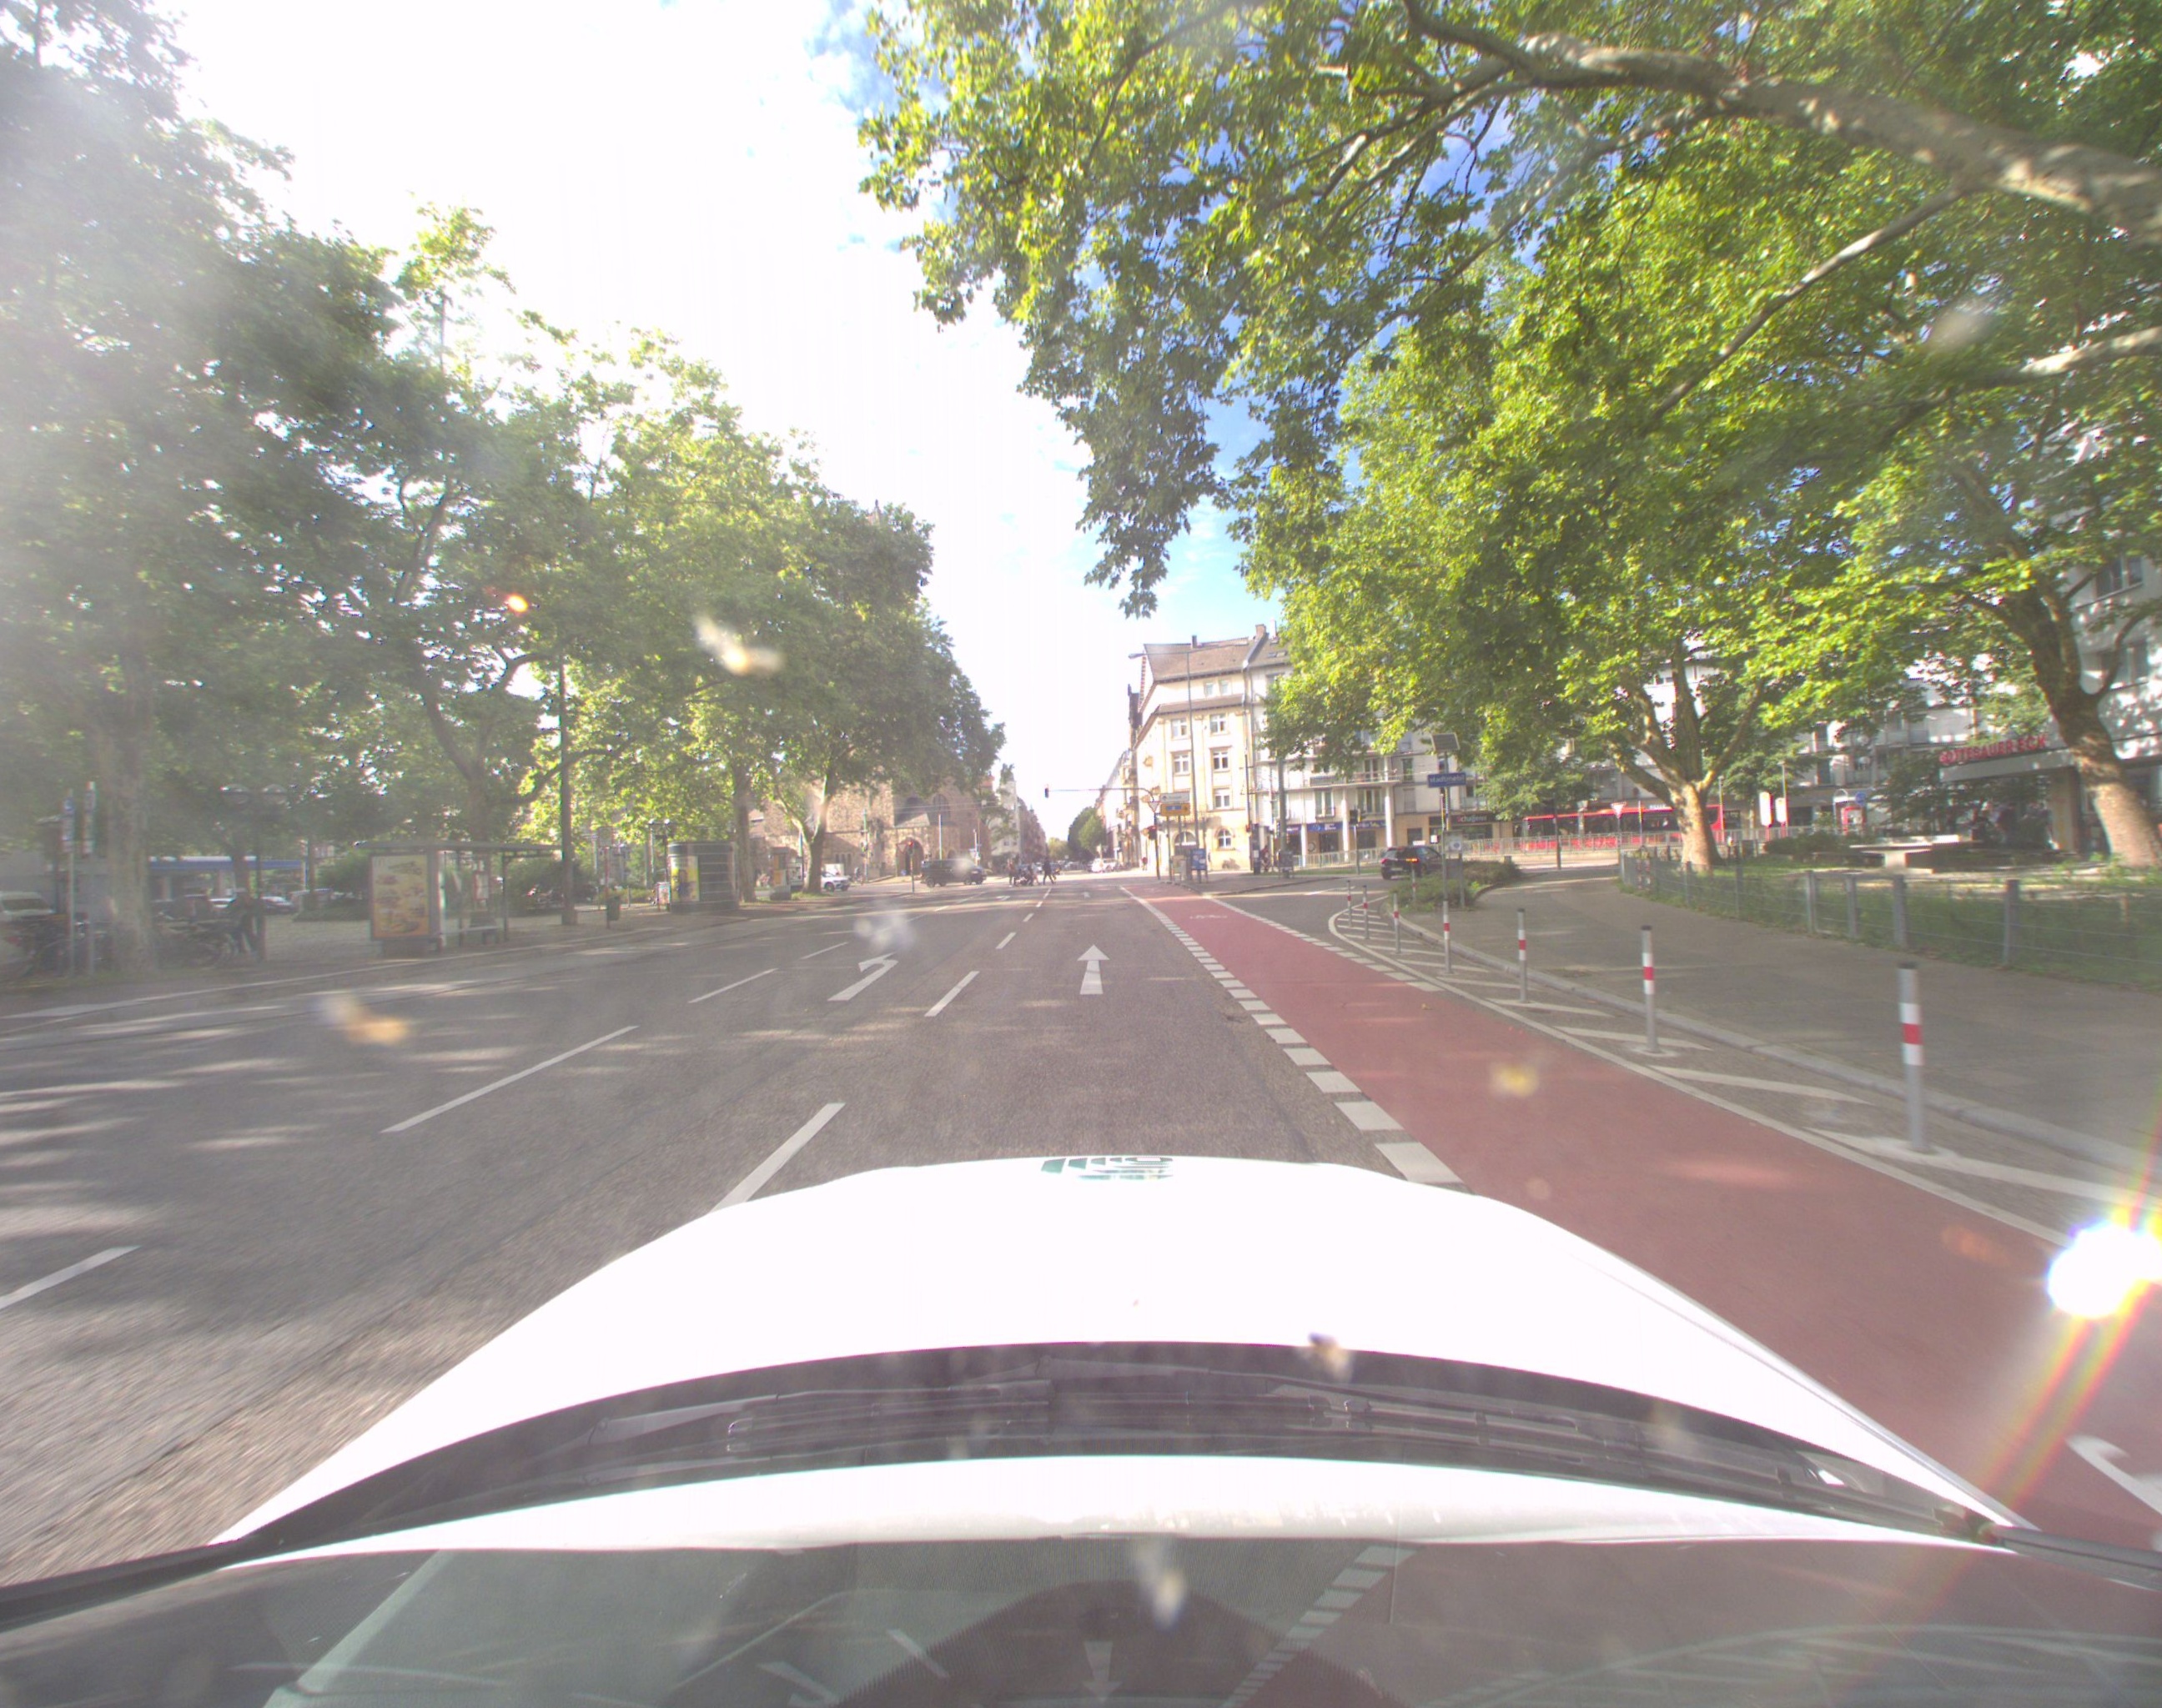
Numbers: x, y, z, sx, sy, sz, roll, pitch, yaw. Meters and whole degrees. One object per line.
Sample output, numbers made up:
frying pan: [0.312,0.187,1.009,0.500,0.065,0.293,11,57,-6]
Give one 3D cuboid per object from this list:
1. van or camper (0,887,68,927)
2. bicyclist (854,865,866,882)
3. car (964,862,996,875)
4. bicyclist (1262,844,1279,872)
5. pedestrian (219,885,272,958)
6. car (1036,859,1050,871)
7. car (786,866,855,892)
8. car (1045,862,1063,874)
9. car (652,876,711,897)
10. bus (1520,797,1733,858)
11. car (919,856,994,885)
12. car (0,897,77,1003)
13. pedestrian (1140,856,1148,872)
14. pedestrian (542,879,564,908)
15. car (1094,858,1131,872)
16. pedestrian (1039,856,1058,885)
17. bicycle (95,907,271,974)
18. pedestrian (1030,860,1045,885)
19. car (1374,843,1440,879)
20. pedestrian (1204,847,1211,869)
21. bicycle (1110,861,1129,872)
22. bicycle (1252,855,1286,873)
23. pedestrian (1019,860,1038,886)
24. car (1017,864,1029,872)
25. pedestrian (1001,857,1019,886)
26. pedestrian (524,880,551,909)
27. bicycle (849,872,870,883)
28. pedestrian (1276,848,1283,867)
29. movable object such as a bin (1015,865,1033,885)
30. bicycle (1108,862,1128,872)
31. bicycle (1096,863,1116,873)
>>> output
van or camper: [-67.002,3.393,51.853,4.435,2.328,2.124,-3,0,26]
bicyclist: [-22.226,1.984,81.881,0.716,1.662,0.724,-3,-1,35]
car: [-14.434,2.100,116.479,4.021,1.596,1.847,-3,0,-40]
bicyclist: [10.971,0.239,47.258,0.771,1.579,0.629,-3,-1,25]
pedestrian: [-20.637,1.648,20.124,0.498,1.715,0.706,-3,0,1]
car: [-5.775,1.674,124.058,1.943,1.750,3.998,-3,0,-1]
car: [-19.997,1.925,62.632,4.667,1.683,2.027,-3,0,19]
car: [-3.305,1.725,100.359,1.943,1.372,3.999,-3,0,-1]
car: [-33.216,2.721,67.663,4.213,1.479,1.908,-3,0,19]
bus: [38.377,-1.796,58.016,12.154,3.548,3.046,-3,0,22]
car: [-8.952,1.192,58.487,4.804,1.871,2.041,-3,0,19]
car: [-18.087,1.569,11.108,2.217,1.585,4.993,-3,0,14]
pedestrian: [6.269,1.009,81.170,0.557,1.623,0.603,-3,-1,21]
pedestrian: [-23.863,1.778,36.838,0.725,1.288,0.811,0,-1,-26]
car: [3.600,1.236,92.607,3.980,1.420,1.997,-3,0,-4]
pedestrian: [-1.923,0.968,47.826,0.774,1.662,0.783,-3,0,22]
bicycle: [-18.671,1.766,16.997,1.377,1.209,2.114,-3,-2,23]
pedestrian: [-2.515,1.070,47.064,0.649,1.432,0.501,-3,0,22]
car: [14.270,0.280,35.518,1.734,1.413,4.026,-2,0,35]
pedestrian: [11.928,0.395,76.871,0.520,2.093,0.500,-1,-1,25]
bicycle: [4.239,1.405,90.267,2.023,1.082,0.618,-3,0,-11]
bicycle: [10.913,0.568,47.270,1.813,0.955,0.576,-3,-1,25]
pedestrian: [-2.990,1.063,46.557,0.774,1.432,0.735,-3,0,22]
car: [-8.943,2.143,125.921,1.544,1.230,3.589,-2,0,2]
pedestrian: [-4.156,1.012,47.866,0.807,1.629,0.608,-3,0,24]
pedestrian: [-24.731,1.825,37.049,0.808,1.288,0.728,-1,-1,32]
bicycle: [-22.252,2.327,81.844,0.630,0.980,1.937,-3,0,40]
pedestrian: [18.038,0.343,74.049,0.491,1.714,0.530,-1,-1,24]
movable object such as a bin: [-3.350,1.242,47.578,0.830,1.123,0.578,-3,0,22]
bicycle: [4.127,1.468,90.937,2.023,1.082,0.628,-3,0,-11]
bicycle: [2.780,1.537,90.168,2.023,1.082,0.618,-3,0,-11]
